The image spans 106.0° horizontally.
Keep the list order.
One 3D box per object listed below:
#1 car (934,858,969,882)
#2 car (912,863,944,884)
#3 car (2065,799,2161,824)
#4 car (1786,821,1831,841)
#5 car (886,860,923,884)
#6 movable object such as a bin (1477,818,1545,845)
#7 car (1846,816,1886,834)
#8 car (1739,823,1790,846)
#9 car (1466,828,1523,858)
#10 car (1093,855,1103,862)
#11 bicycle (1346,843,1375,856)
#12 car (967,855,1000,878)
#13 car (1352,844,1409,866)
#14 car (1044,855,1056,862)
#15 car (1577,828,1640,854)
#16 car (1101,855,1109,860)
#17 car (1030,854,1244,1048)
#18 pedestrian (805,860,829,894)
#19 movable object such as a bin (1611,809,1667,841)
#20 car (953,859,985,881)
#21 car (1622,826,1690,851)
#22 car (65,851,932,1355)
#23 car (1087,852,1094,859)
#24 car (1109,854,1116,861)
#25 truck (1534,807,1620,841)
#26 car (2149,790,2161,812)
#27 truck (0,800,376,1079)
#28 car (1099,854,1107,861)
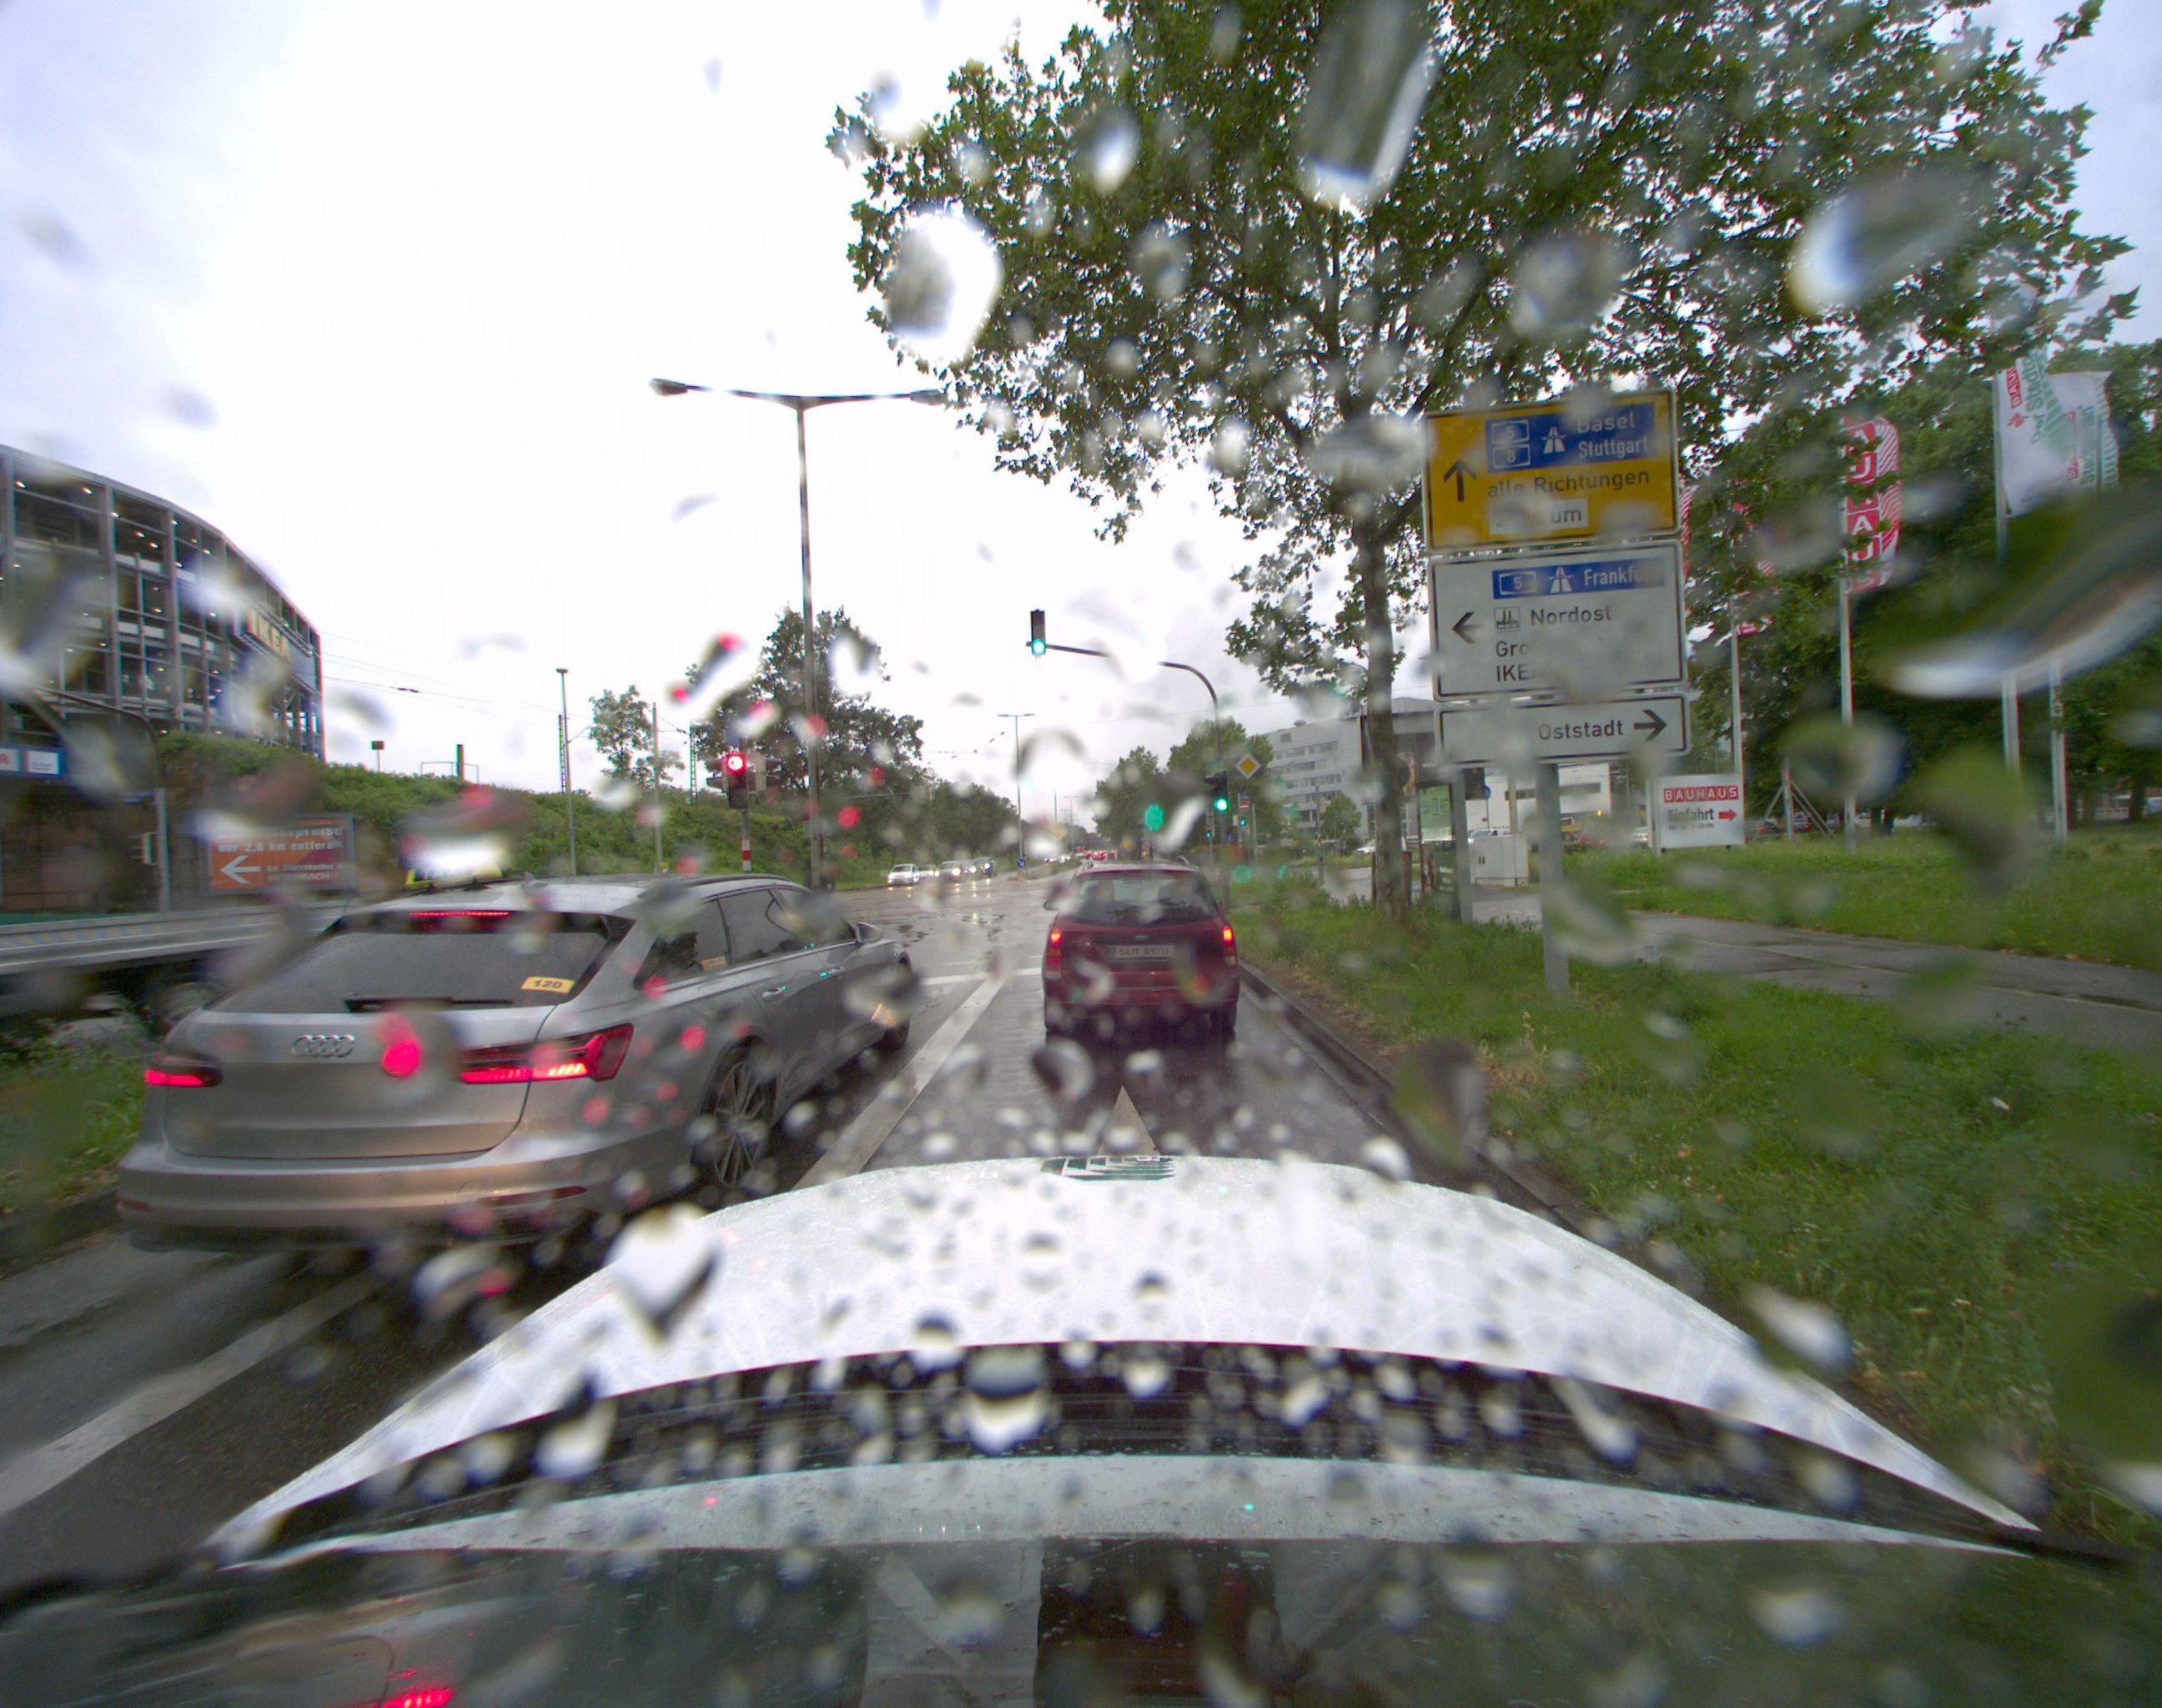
[{"bbox_3d":[-8.943,1.101,56.436,1.632,1.473,3.966,-3,0,1],"label":"car"},{"bbox_3d":[-11.571,1.472,61.724,1.585,1.404,3.823,-3,0,1],"label":"car"},{"bbox_3d":[88.542,-3.630,69.243,2.286,1.731,5.899,-3,-1,-33],"label":"car"},{"bbox_3d":[63.689,-2.010,71.284,4.645,1.586,1.906,-2,-1,-35],"label":"car"},{"bbox_3d":[-11.978,1.195,55.402,1.633,1.452,3.786,-3,0,0],"label":"car"},{"bbox_3d":[53.775,-2.767,102.092,3.342,2.995,6.650,-3,0,-34],"label":"movable object such as a bin"},{"bbox_3d":[77.972,-2.872,80.889,4.645,1.586,1.907,-2,-1,-34],"label":"car"},{"bbox_3d":[55.168,-1.584,65.690,4.644,1.586,1.907,-3,0,-34],"label":"car"},{"bbox_3d":[32.625,-0.866,64.198,4.709,2.125,1.978,-2,-1,-36],"label":"car"},{"bbox_3d":[3.814,0.941,181.428,2.138,1.528,4.197,-3,0,4],"label":"car"},{"bbox_3d":[24.354,-0.372,70.876,2.286,1.046,0.853,-3,-1,21],"label":"bicycle"},{"bbox_3d":[-8.553,1.046,71.766,2.058,1.819,5.542,-3,0,1],"label":"car"},{"bbox_3d":[24.354,0.065,66.218,4.243,1.726,1.730,-1,0,-19],"label":"car"},{"bbox_3d":[-6.996,1.046,183.120,2.084,1.528,4.197,-3,0,4],"label":"car"},{"bbox_3d":[32.144,-0.774,49.614,3.828,1.491,1.662,-1,0,-30],"label":"car"},{"bbox_3d":[6.810,0.948,230.590,1.662,1.528,3.853,-3,0,6],"label":"car"},{"bbox_3d":[0.459,0.746,8.113,1.636,1.465,3.733,0,0,1],"label":"car"},{"bbox_3d":[-14.946,1.293,46.114,1.102,1.847,1.126,-3,0,-10],"label":"pedestrian"},{"bbox_3d":[66.851,-3.449,97.583,6.347,3.507,3.293,-3,0,-34],"label":"movable object such as a bin"},{"bbox_3d":[-8.710,1.215,63.592,1.756,1.586,4.813,-3,-1,0],"label":"car"},{"bbox_3d":[38.032,-1.032,53.847,4.847,1.491,1.907,-2,-1,-32],"label":"car"},{"bbox_3d":[-2.280,0.782,4.979,1.763,1.574,4.821,0,0,1],"label":"car"},{"bbox_3d":[2.368,0.394,202.725,1.691,1.528,3.849,-3,0,3],"label":"car"},{"bbox_3d":[7.911,0.851,205.764,1.664,1.528,3.849,-3,0,3],"label":"car"},{"bbox_3d":[57.974,-3.446,95.313,3.342,3.507,7.806,-3,0,-33],"label":"truck"},{"bbox_3d":[84.335,-4.144,61.384,1.937,1.586,4.572,-2,-1,-39],"label":"car"},{"bbox_3d":[-10.410,0.776,6.998,2.465,2.365,6.871,-3,0,2],"label":"truck"},{"bbox_3d":[5.344,0.868,194.252,1.691,1.528,3.849,-3,0,3],"label":"car"}]
